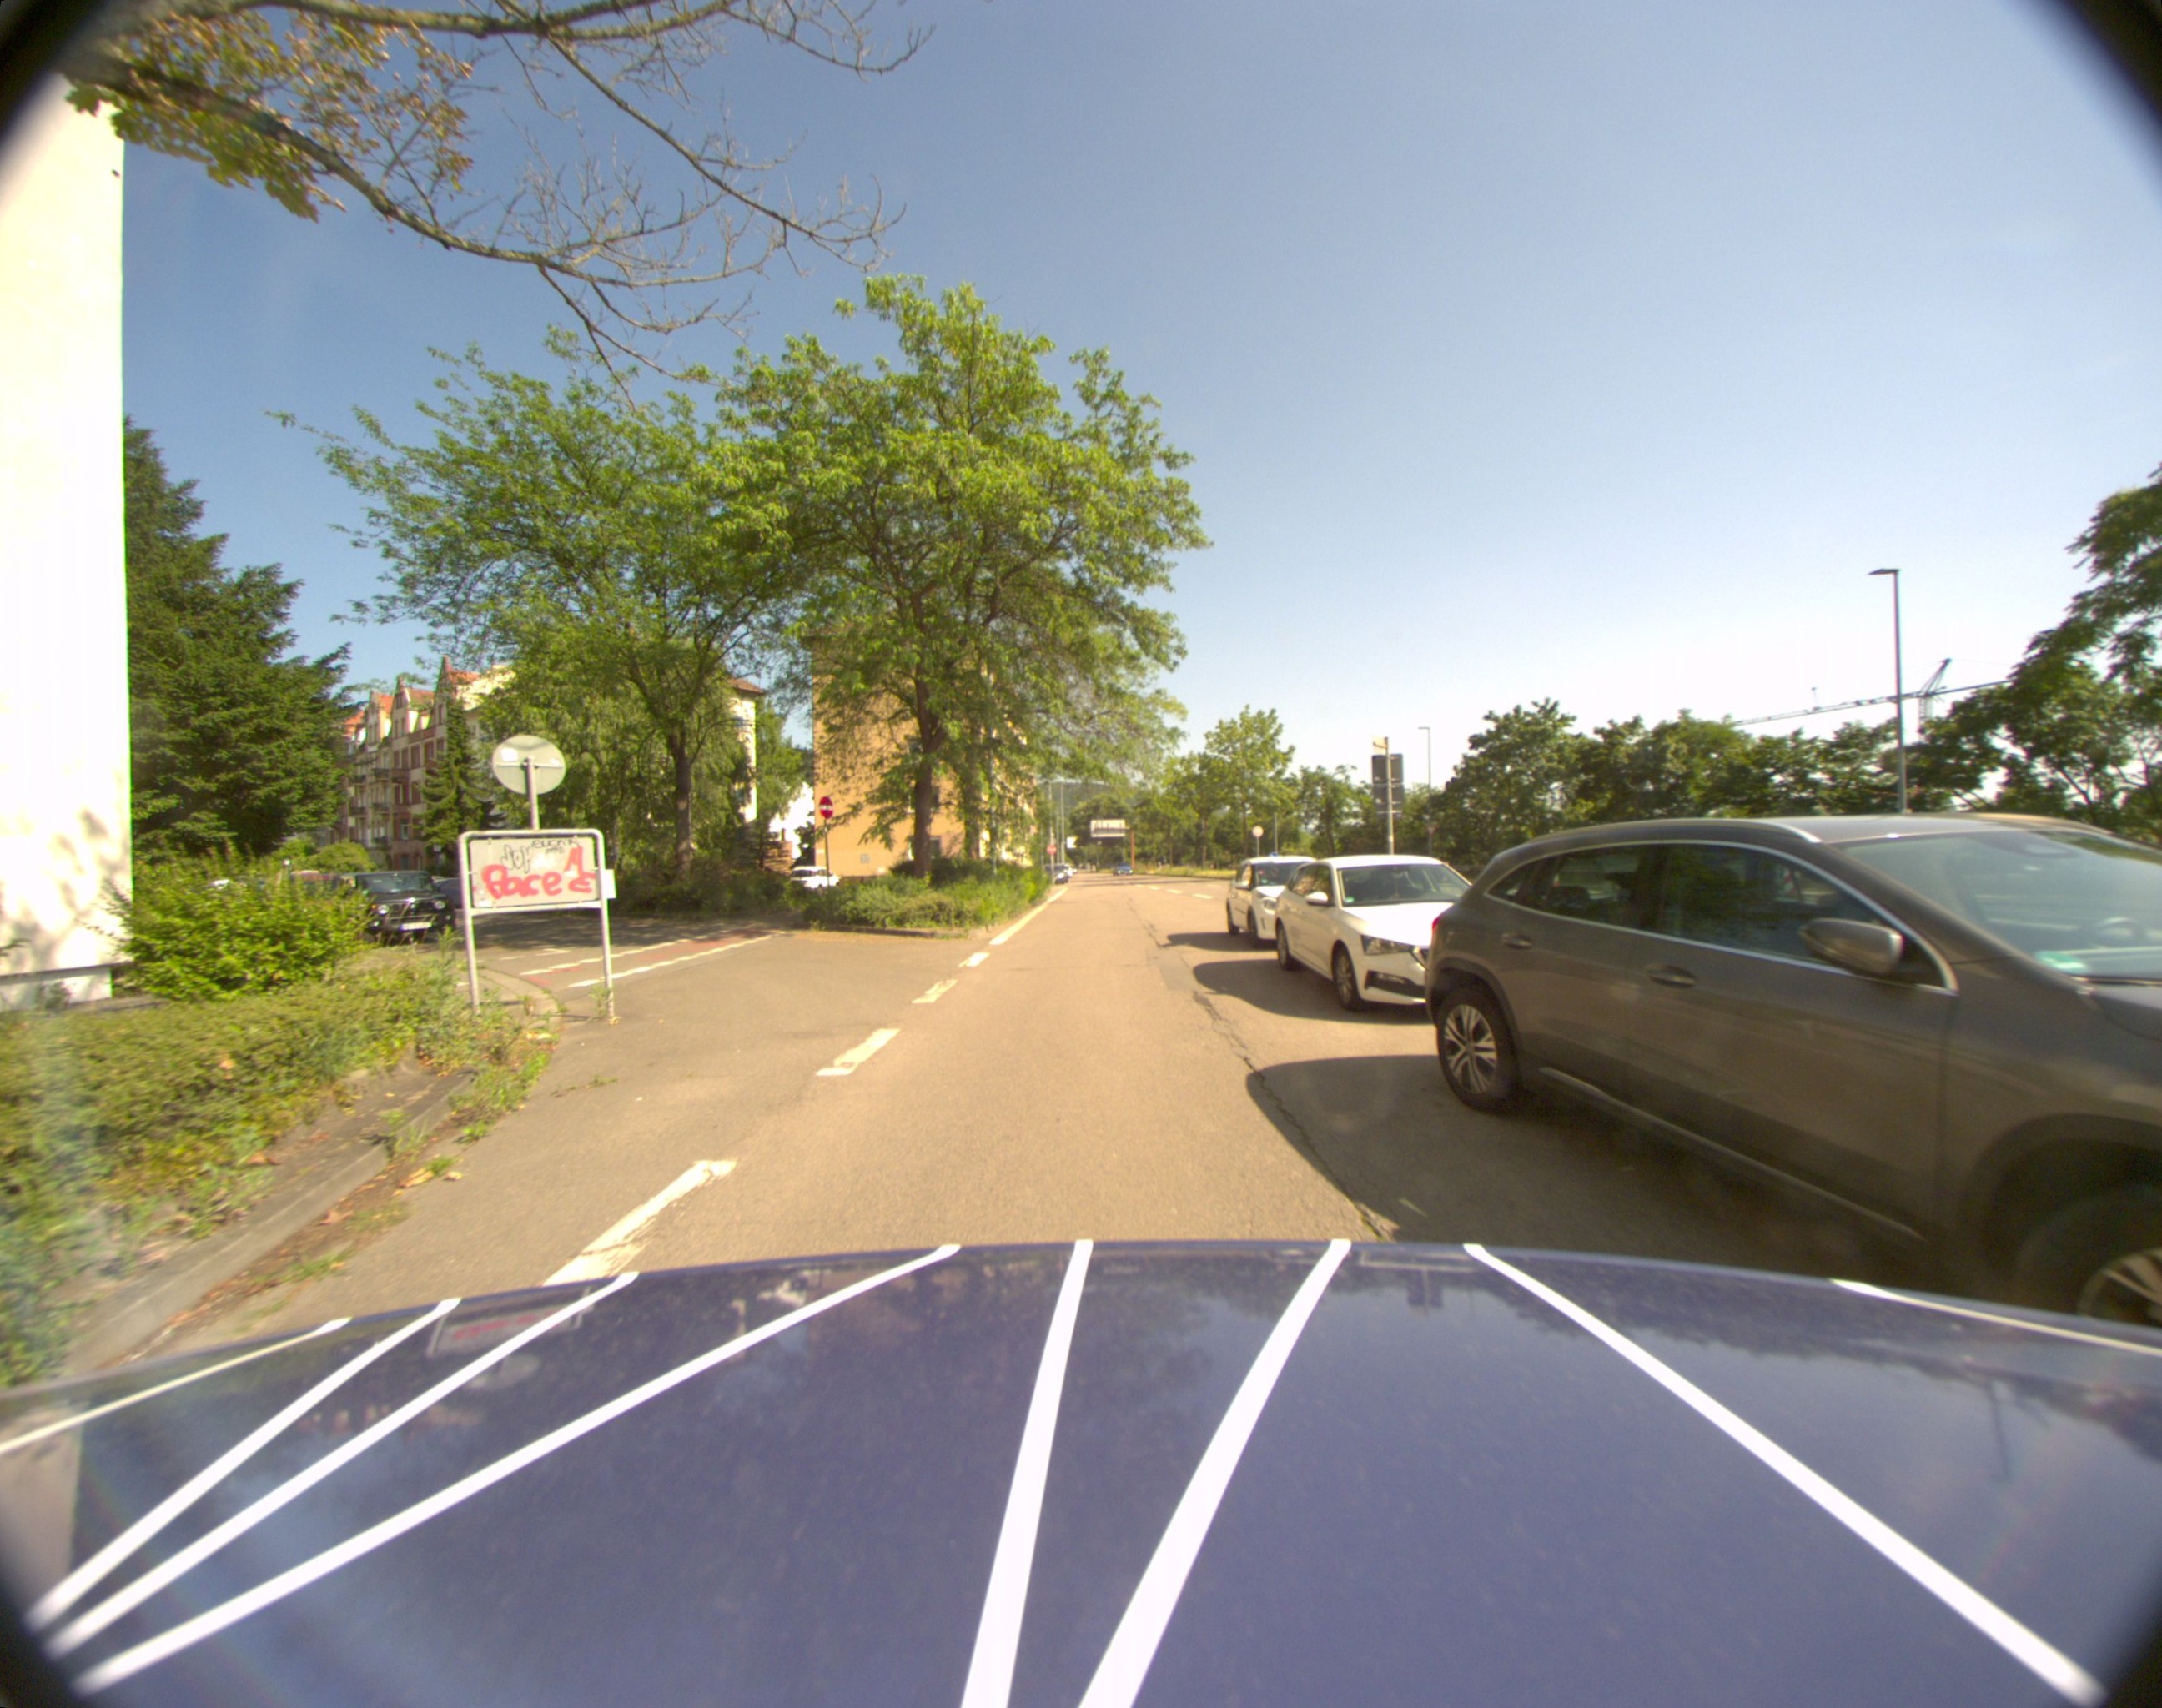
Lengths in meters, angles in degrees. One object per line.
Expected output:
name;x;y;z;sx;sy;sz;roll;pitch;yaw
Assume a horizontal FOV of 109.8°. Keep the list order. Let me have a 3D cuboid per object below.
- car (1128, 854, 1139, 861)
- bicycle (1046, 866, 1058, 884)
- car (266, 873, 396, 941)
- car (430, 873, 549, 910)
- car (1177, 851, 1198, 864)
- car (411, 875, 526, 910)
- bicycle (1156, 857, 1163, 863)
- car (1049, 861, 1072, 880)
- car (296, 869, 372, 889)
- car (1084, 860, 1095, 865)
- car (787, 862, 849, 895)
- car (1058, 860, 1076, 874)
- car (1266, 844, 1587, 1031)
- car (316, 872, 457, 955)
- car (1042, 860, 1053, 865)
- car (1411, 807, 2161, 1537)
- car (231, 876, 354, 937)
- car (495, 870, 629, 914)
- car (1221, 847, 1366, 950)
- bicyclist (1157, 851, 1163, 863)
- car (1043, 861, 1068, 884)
car;10.726;0.721;155.184;1.768;1.465;4.084;-2;0;-2
bicycle;-1.912;1.393;50.421;0.704;1.117;1.744;-2;0;-4
car;-20.489;1.385;20.730;3.838;1.664;1.665;-1;0;33
car;-27.894;1.743;36.009;4.003;1.504;1.931;-2;0;-20
car;15.006;0.468;106.996;1.999;1.723;4.728;-2;0;-3
car;-30.219;1.881;37.643;4.003;1.524;1.931;-2;0;-20
bicycle;11.916;0.965;114.899;0.695;0.900;2.341;-2;0;-3
car;-1.611;1.268;59.666;1.715;1.453;4.255;-1;0;-1
car;-57.487;1.904;58.493;1.903;1.418;4.008;-1;1;41
car;2.090;2.136;191.217;1.652;1.408;3.965;-1;0;-16
car;-14.006;1.281;40.658;1.659;1.631;3.787;-1;0;5
car;-1.535;1.402;83.127;1.761;1.497;4.126;-3;0;-2
car;3.339;0.694;8.302;1.725;1.496;4.132;-1;0;2
car;-16.111;1.297;17.592;3.579;1.644;1.690;-1;1;36
car;-9.900;2.478;224.423;2.002;1.519;4.689;0;0;-22
car;3.119;0.678;2.733;1.777;1.570;4.185;-1;0;-4
car;-24.478;1.575;23.551;4.197;1.664;1.792;-1;1;32
car;-19.664;1.411;28.925;3.772;1.433;1.779;-2;0;-12
car;3.566;0.693;13.328;1.623;1.496;3.462;-3;0;2
bicyclist;11.902;0.459;115.043;0.698;1.821;1.016;-2;0;-4
car;-1.844;1.323;54.738;1.708;1.505;4.090;-2;0;-3
